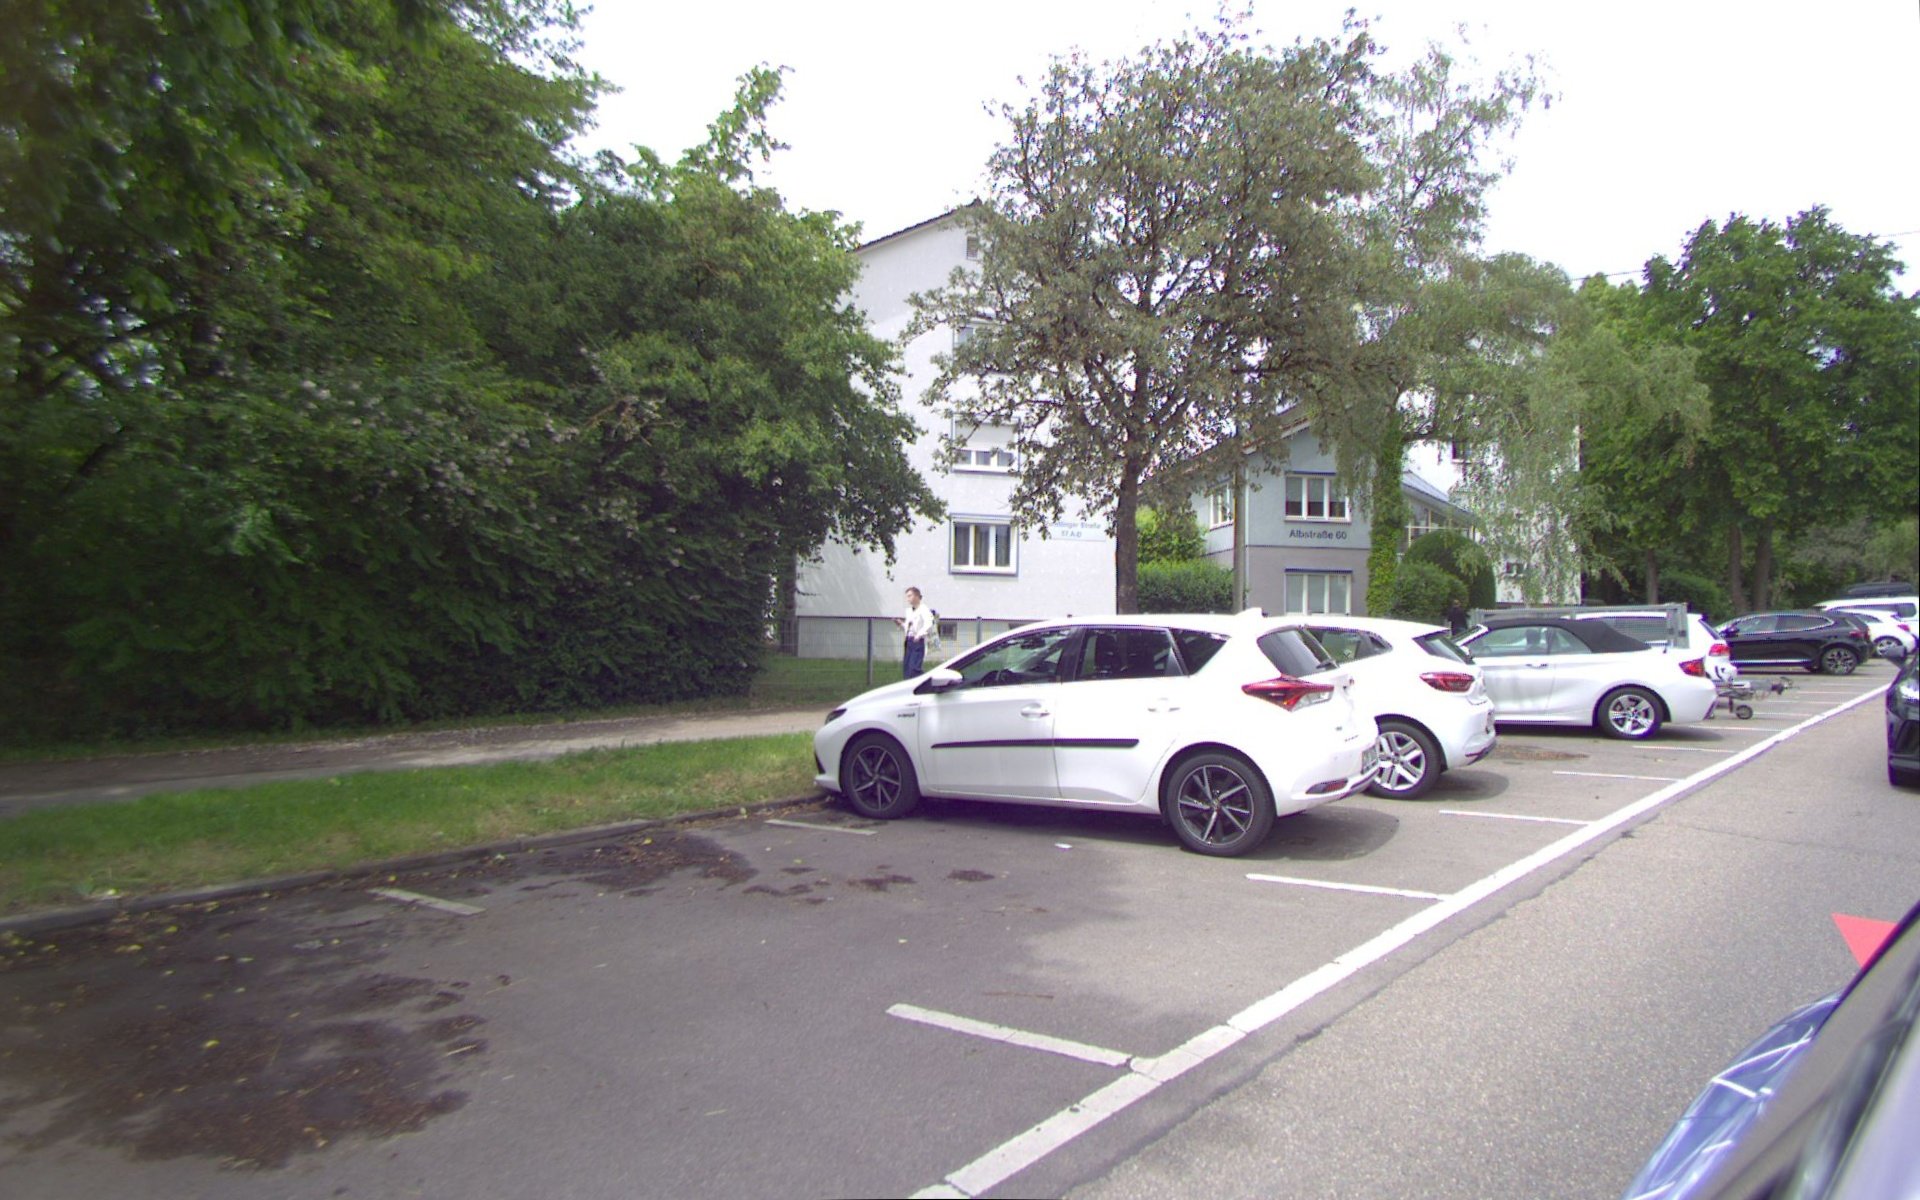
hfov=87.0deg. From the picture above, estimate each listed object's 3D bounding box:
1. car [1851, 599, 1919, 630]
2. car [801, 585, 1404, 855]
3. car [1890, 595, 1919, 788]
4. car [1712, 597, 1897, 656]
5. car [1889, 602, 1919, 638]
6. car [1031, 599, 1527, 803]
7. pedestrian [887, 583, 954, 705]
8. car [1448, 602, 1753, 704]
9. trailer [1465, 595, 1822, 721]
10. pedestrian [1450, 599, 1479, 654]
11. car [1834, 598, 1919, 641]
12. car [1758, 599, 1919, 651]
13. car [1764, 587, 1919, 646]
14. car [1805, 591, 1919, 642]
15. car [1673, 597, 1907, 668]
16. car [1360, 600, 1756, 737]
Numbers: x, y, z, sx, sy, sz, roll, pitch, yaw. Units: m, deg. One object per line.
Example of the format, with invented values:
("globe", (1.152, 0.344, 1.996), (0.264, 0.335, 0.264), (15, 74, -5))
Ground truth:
("car", (51.491, 0.782, 55.371), (3.825, 1.578, 1.637), (-2, -1, 31))
("car", (0.957, 0.710, 7.418), (3.968, 1.483, 1.845), (-2, -1, 32))
("car", (9.456, 0.717, 8.653), (3.727, 1.511, 1.811), (-1, 0, -41))
("car", (22.400, 0.720, 27.020), (3.484, 1.483, 1.697), (-2, -1, 30))
("car", (46.148, 0.908, 47.179), (3.825, 1.633, 1.637), (-2, -1, 31))
("car", (2.810, 0.785, 9.227), (3.972, 1.483, 1.774), (-2, -1, 34))
("pedestrian", (-0.571, 0.605, 14.380), (0.762, 1.665, 0.695), (0, -1, -21))
("car", (10.189, 0.823, 16.483), (3.962, 1.483, 1.774), (-2, -1, 28))
("trailer", (9.457, 0.737, 14.358), (3.969, 1.572, 1.640), (-1, -1, 32))
("pedestrian", (14.406, 0.746, 28.903), (0.688, 1.523, 0.770), (-1, -1, 30))
("car", (33.432, 0.673, 35.629), (3.833, 1.453, 1.633), (-2, -1, 37))
("car", (26.408, 0.758, 30.306), (3.833, 1.457, 1.693), (-2, -1, 37))
("car", (28.631, 0.527, 32.386), (4.179, 1.781, 1.842), (-2, -1, 26))
("car", (31.143, 0.562, 34.170), (3.833, 1.664, 1.829), (-2, -1, 36))
("car", (18.897, 0.747, 23.268), (3.816, 1.452, 1.701), (-2, 1, 26))
("car", (7.164, 0.797, 12.639), (3.955, 1.483, 1.836), (-2, -1, 24))
